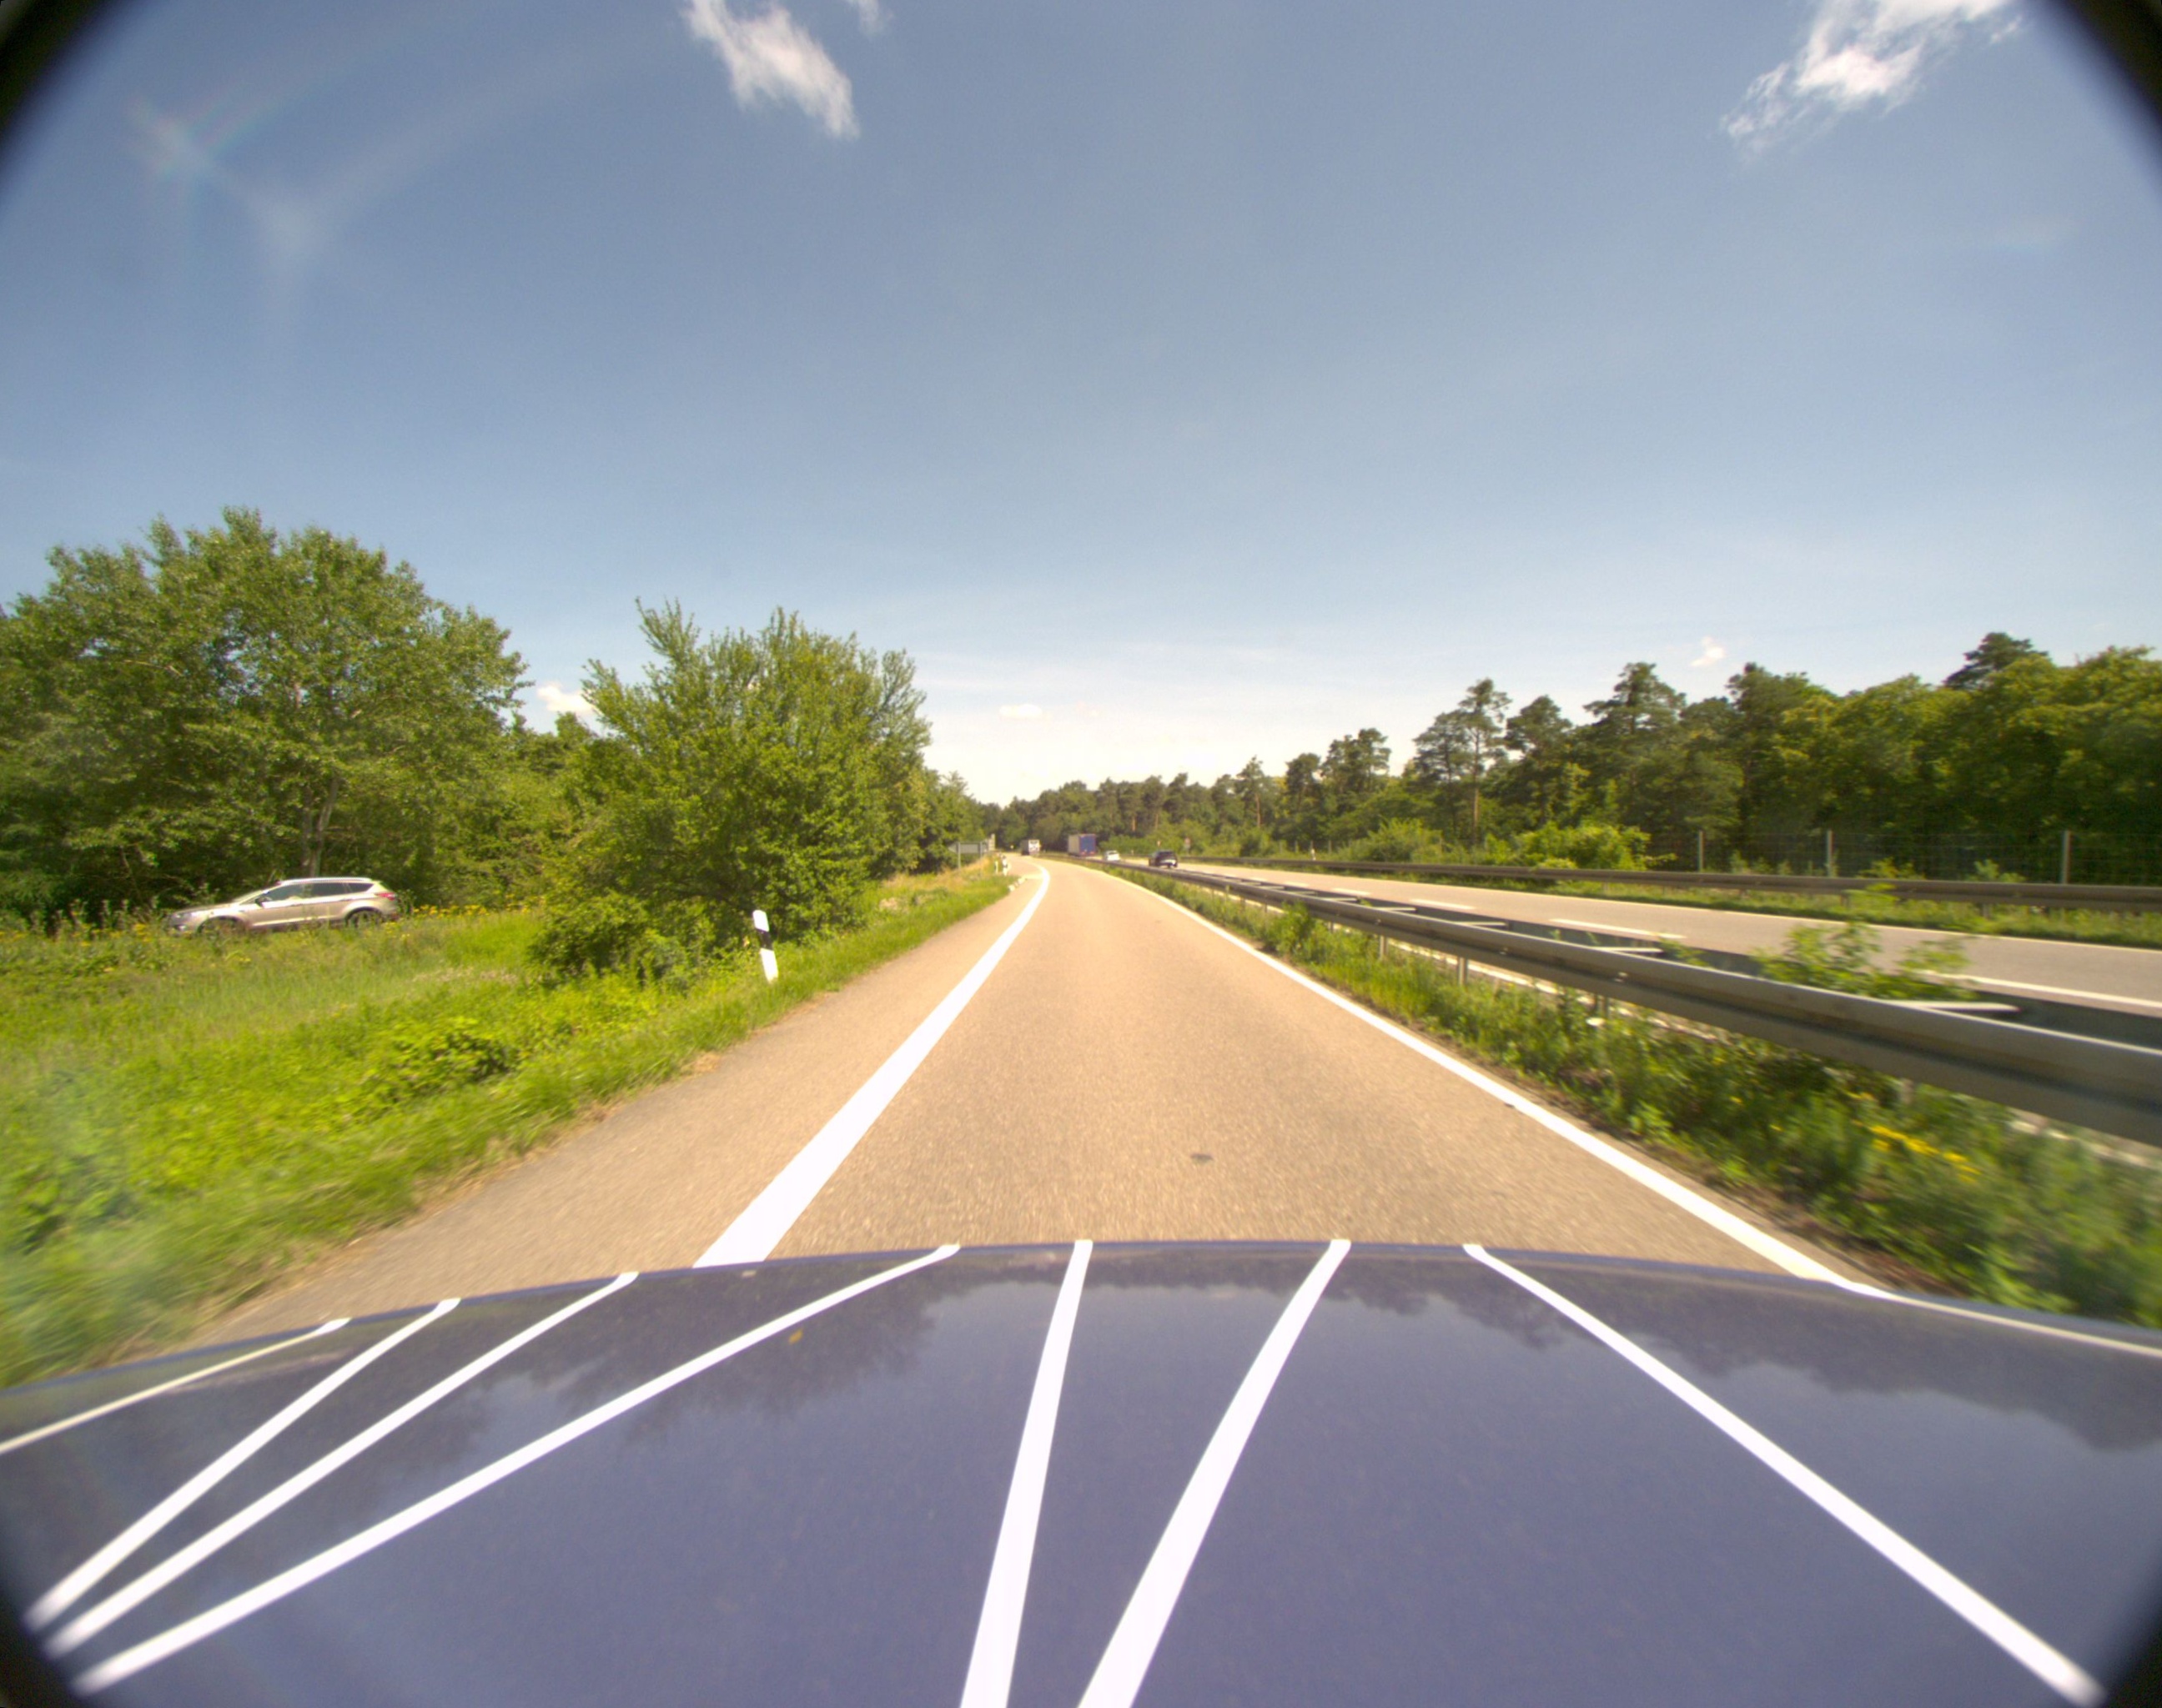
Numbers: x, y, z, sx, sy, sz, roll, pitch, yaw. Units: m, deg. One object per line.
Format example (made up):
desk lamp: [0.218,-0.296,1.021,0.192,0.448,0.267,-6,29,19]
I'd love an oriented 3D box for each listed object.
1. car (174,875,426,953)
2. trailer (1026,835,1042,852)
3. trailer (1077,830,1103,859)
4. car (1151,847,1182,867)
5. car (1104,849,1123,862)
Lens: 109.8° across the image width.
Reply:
car: [-22.024,1.616,21.654,1.895,1.656,4.674,-3,1,35]
trailer: [-12.589,-2.723,201.774,2.677,4.164,14.049,-2,1,-9]
trailer: [1.291,-1.525,119.339,2.753,4.149,14.575,-2,1,-4]
car: [7.066,0.229,63.314,1.760,1.492,4.572,-2,1,-3]
car: [3.885,0.127,90.359,1.799,1.436,4.605,-2,1,-3]
